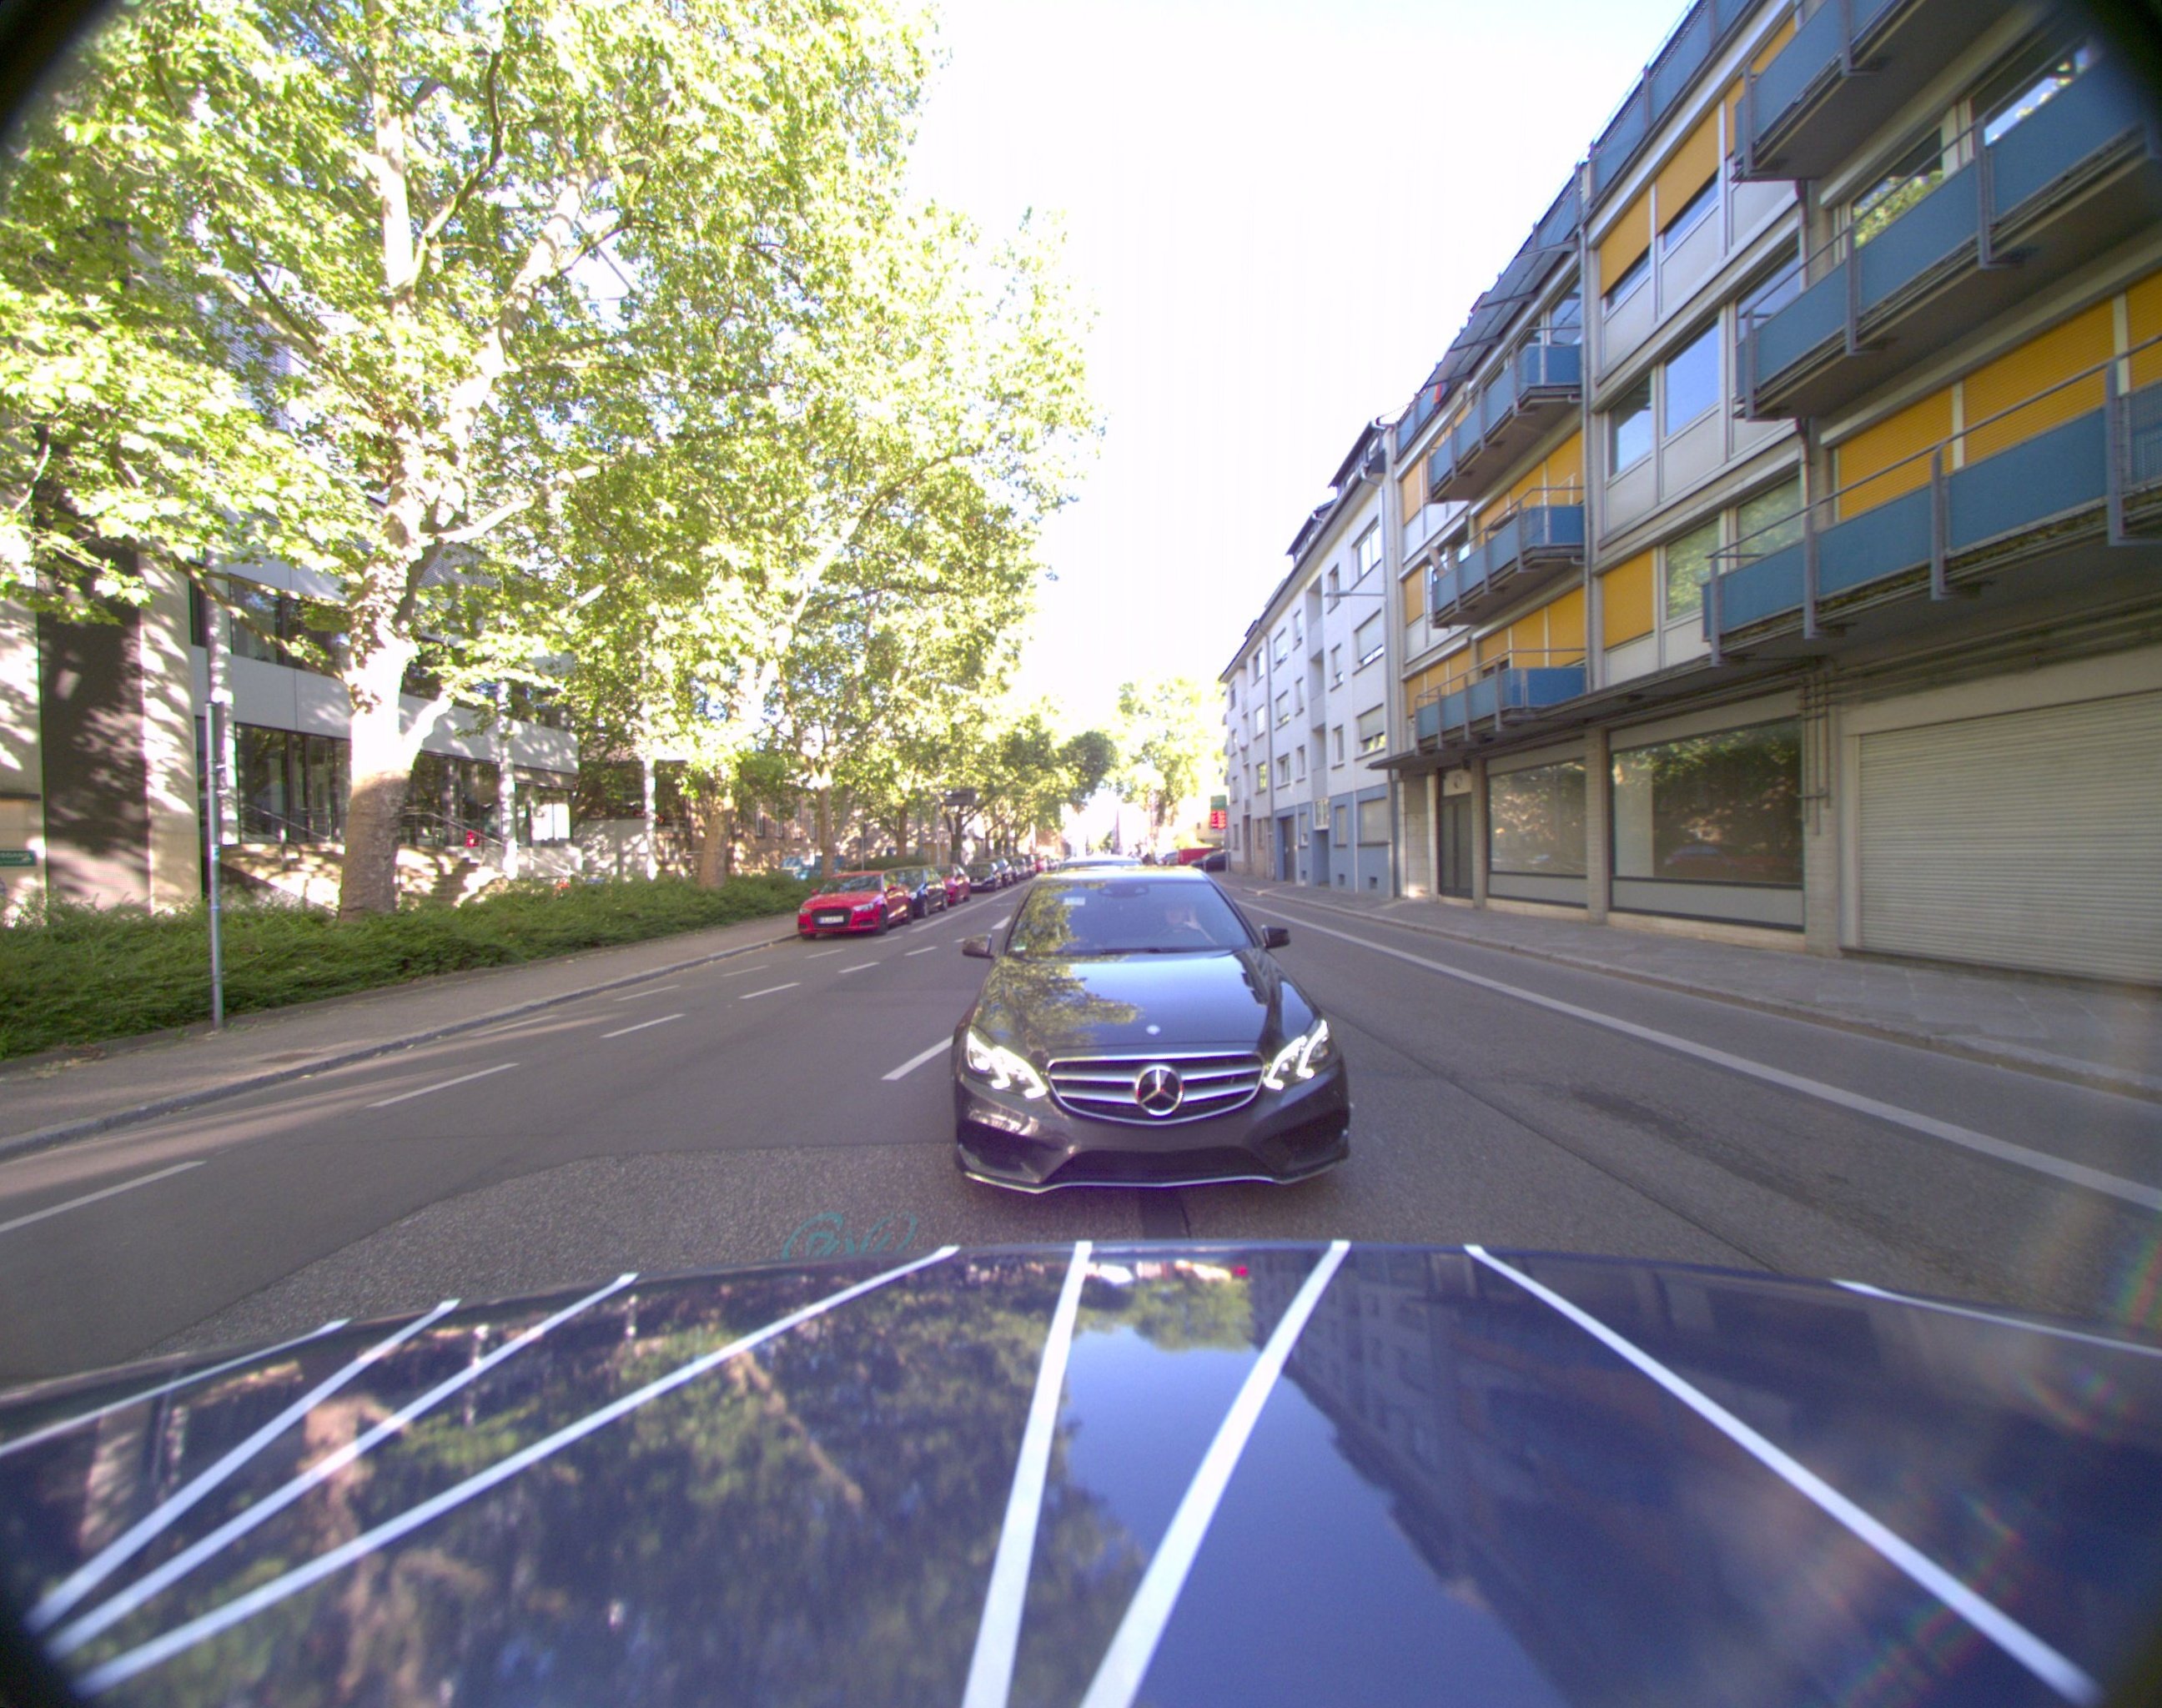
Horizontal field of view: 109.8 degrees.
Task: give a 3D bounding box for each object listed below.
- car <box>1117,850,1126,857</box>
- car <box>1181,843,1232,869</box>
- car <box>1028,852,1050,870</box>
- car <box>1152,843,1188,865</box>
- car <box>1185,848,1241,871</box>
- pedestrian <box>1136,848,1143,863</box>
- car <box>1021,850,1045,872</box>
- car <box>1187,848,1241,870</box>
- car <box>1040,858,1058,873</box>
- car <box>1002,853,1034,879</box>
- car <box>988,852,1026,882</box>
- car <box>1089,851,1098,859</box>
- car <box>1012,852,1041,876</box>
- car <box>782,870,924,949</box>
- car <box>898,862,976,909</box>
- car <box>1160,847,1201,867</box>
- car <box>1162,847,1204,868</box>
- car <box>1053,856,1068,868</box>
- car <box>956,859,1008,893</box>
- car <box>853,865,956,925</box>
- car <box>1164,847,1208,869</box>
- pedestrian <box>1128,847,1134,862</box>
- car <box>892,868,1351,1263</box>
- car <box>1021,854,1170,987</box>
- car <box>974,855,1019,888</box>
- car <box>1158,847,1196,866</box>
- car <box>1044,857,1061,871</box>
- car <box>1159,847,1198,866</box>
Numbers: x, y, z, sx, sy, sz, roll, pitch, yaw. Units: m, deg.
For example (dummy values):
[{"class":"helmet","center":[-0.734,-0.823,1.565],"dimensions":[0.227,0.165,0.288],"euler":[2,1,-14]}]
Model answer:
[{"class":"car","center":[9.486,-0.175,176.696],"dimensions":[1.866,1.632,4.481],"euler":[-2,0,1]},{"class":"car","center":[10.543,0.152,64.024],"dimensions":[3.996,1.936,2.000],"euler":[-2,1,2]},{"class":"car","center":[-4.204,0.700,76.278],"dimensions":[1.866,1.632,4.481],"euler":[-2,0,1]},{"class":"car","center":[10.484,0.000,89.507],"dimensions":[3.996,2.505,2.000],"euler":[-2,1,2]},{"class":"car","center":[10.170,0.420,58.871],"dimensions":[3.996,1.543,2.000],"euler":[-2,1,2]},{"class":"pedestrian","center":[7.471,0.186,97.837],"dimensions":[0.735,2.002,1.046],"euler":[-2,1,-1]},{"class":"car","center":[-4.412,0.612,70.353],"dimensions":[1.866,1.945,4.481],"euler":[-2,0,1]},{"class":"car","center":[10.711,0.374,61.193],"dimensions":[3.996,1.543,2.000],"euler":[-2,1,2]},{"class":"car","center":[-3.770,1.316,89.984],"dimensions":[1.866,1.632,4.481],"euler":[-2,0,1]},{"class":"car","center":[-4.507,0.814,54.800],"dimensions":[1.866,1.749,4.481],"euler":[-2,0,1]},{"class":"car","center":[-4.637,0.780,48.133],"dimensions":[1.866,1.749,4.481],"euler":[-2,0,1]},{"class":"car","center":[2.697,0.280,168.810],"dimensions":[1.866,1.632,4.481],"euler":[-2,0,1]},{"class":"car","center":[-4.250,0.751,59.755],"dimensions":[1.866,1.749,4.481],"euler":[-2,0,1]},{"class":"car","center":[-5.108,1.174,17.730],"dimensions":[1.866,1.442,4.481],"euler":[-2,0,1]},{"class":"car","center":[-5.092,1.061,27.425],"dimensions":[1.866,1.442,4.481],"euler":[-2,0,1]},{"class":"car","center":[10.455,0.304,79.997],"dimensions":[3.996,1.936,2.000],"euler":[-2,1,2]},{"class":"car","center":[10.327,0.341,77.146],"dimensions":[3.996,1.936,2.000],"euler":[-2,1,2]},{"class":"car","center":[-2.828,1.106,105.190],"dimensions":[1.866,1.632,4.481],"euler":[-2,0,1]},{"class":"car","center":[-4.760,1.020,37.172],"dimensions":[1.866,1.442,4.481],"euler":[-2,0,1]},{"class":"car","center":[-5.048,1.120,22.381],"dimensions":[1.866,1.442,4.481],"euler":[-2,0,1]},{"class":"car","center":[10.243,0.374,74.505],"dimensions":[3.996,1.936,2.000],"euler":[-2,1,2]},{"class":"pedestrian","center":[6.411,0.052,97.634],"dimensions":[0.735,2.002,0.797],"euler":[-2,1,1]},{"class":"car","center":[0.201,0.930,5.407],"dimensions":[1.866,1.492,4.481],"euler":[-2,0,1]},{"class":"car","center":[0.221,0.855,11.930],"dimensions":[1.866,1.630,4.303],"euler":[-2,0,1]},{"class":"car","center":[-4.625,0.903,42.206],"dimensions":[1.866,1.658,4.481],"euler":[-2,0,1]},{"class":"car","center":[10.730,0.238,84.980],"dimensions":[3.996,1.936,2.000],"euler":[-2,1,2]},{"class":"car","center":[-3.660,1.231,96.783],"dimensions":[1.866,1.632,4.481],"euler":[-2,0,1]},{"class":"car","center":[10.585,0.272,82.486],"dimensions":[3.996,1.936,2.000],"euler":[-2,1,2]}]
